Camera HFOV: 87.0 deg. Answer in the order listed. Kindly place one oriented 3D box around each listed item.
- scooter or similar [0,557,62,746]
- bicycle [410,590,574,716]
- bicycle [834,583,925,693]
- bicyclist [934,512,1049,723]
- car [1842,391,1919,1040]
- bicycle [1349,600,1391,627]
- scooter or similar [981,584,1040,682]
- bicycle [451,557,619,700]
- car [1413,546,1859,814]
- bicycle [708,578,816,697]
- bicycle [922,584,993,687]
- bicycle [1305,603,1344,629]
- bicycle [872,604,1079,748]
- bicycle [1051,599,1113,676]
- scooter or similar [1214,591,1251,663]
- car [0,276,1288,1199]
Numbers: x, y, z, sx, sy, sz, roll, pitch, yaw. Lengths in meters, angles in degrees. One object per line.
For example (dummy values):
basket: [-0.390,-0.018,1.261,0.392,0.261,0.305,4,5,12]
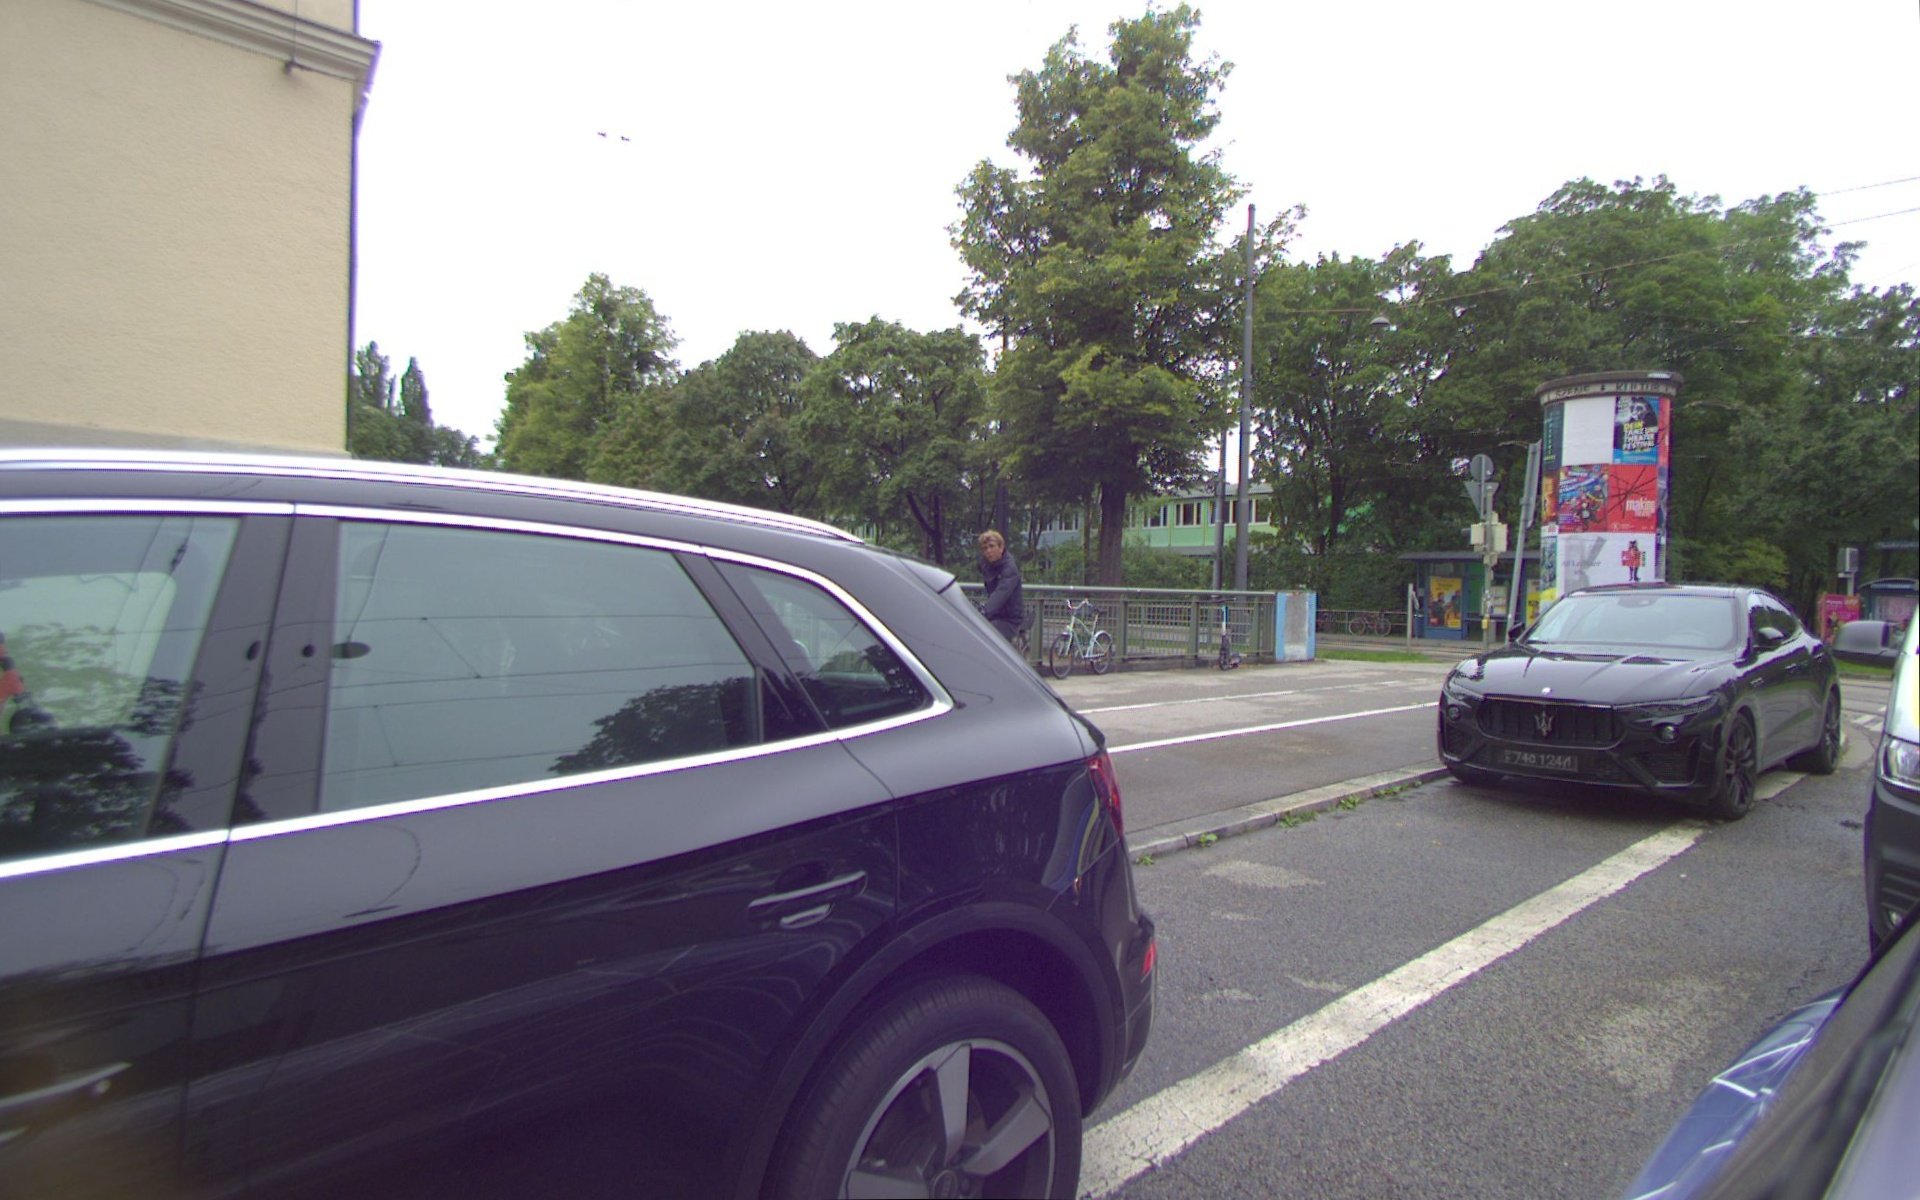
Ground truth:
scooter or similar: [-7.057,0.364,7.096,1.122,1.329,0.261,0,-1,-41]
bicycle: [-4.437,0.473,9.672,0.286,1.120,1.421,1,0,42]
bicycle: [-0.986,0.451,12.665,0.281,1.298,1.391,-1,-1,38]
bicyclist: [0.277,0.142,8.901,0.714,1.751,0.725,0,-1,-41]
car: [5.657,0.390,4.567,5.612,2.078,1.901,0,2,-43]
bicycle: [15.437,0.509,38.164,0.366,0.964,1.483,0,1,-38]
scooter or similar: [0.712,0.436,14.008,0.242,1.279,1.482,-1,0,27]
bicycle: [-4.175,0.265,10.014,1.511,1.329,0.332,0,-1,-42]
car: [5.768,0.515,8.391,4.582,1.630,1.904,1,-1,-40]
bicycle: [-2.251,0.408,11.647,0.281,1.298,1.391,-1,-1,38]
bicycle: [-0.017,0.445,13.360,0.280,1.298,1.395,-1,-1,29]
bicycle: [14.332,0.614,39.831,0.366,0.964,1.483,0,1,-38]
bicycle: [0.174,0.603,8.807,1.879,1.091,0.580,0,3,-42]
bicycle: [1.856,0.540,15.240,0.263,1.096,1.524,-1,-1,34]
scooter or similar: [4.776,0.462,17.700,0.224,1.227,1.006,-1,-1,40]
car: [-1.439,0.517,1.738,4.408,1.679,1.778,0,0,-40]
